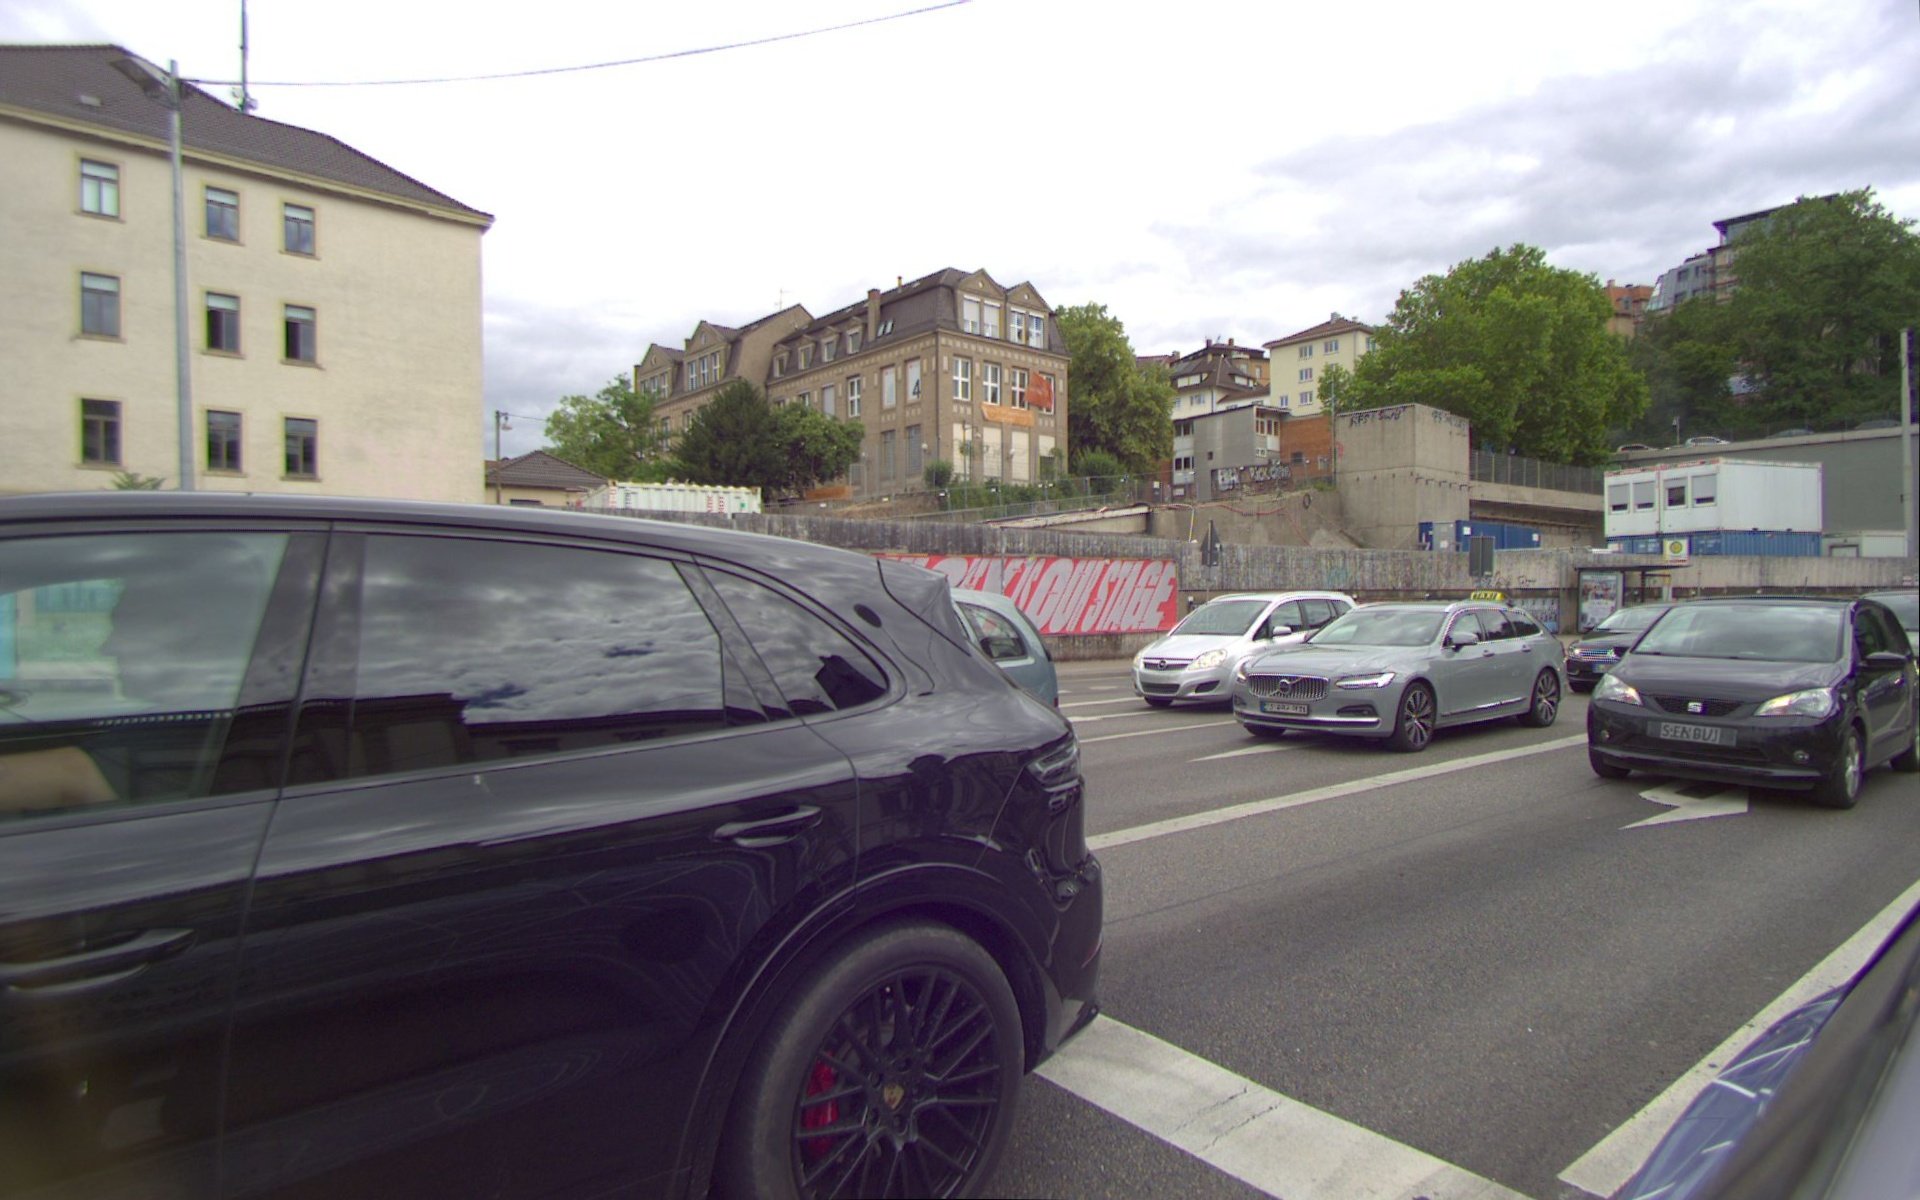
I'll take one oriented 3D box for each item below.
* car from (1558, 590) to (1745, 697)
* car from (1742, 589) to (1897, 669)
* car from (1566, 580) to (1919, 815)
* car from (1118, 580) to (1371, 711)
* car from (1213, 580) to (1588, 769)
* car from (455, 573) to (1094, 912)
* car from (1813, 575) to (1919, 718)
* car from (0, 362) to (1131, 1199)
[{"bbox_3d":[10.578,0.583,15.459,2.665,1.449,1.665,-1,1,-39],"label":"car"},{"bbox_3d":[17.033,0.497,20.006,3.739,1.383,1.680,-1,1,-39],"label":"car"},{"bbox_3d":[6.704,0.590,8.314,3.634,1.476,1.828,-1,1,-39],"label":"car"},{"bbox_3d":[4.266,0.566,14.809,4.141,1.646,1.676,-1,-1,-44],"label":"car"},{"bbox_3d":[5.004,0.622,11.170,4.722,1.645,1.828,-1,1,-39],"label":"car"},{"bbox_3d":[-1.071,0.655,6.836,3.928,1.645,1.680,-1,1,-39],"label":"car"},{"bbox_3d":[11.829,0.501,12.177,3.509,1.563,1.721,0,0,-38],"label":"car"},{"bbox_3d":[-1.844,0.567,1.909,4.404,1.736,1.828,-1,1,-39],"label":"car"}]
